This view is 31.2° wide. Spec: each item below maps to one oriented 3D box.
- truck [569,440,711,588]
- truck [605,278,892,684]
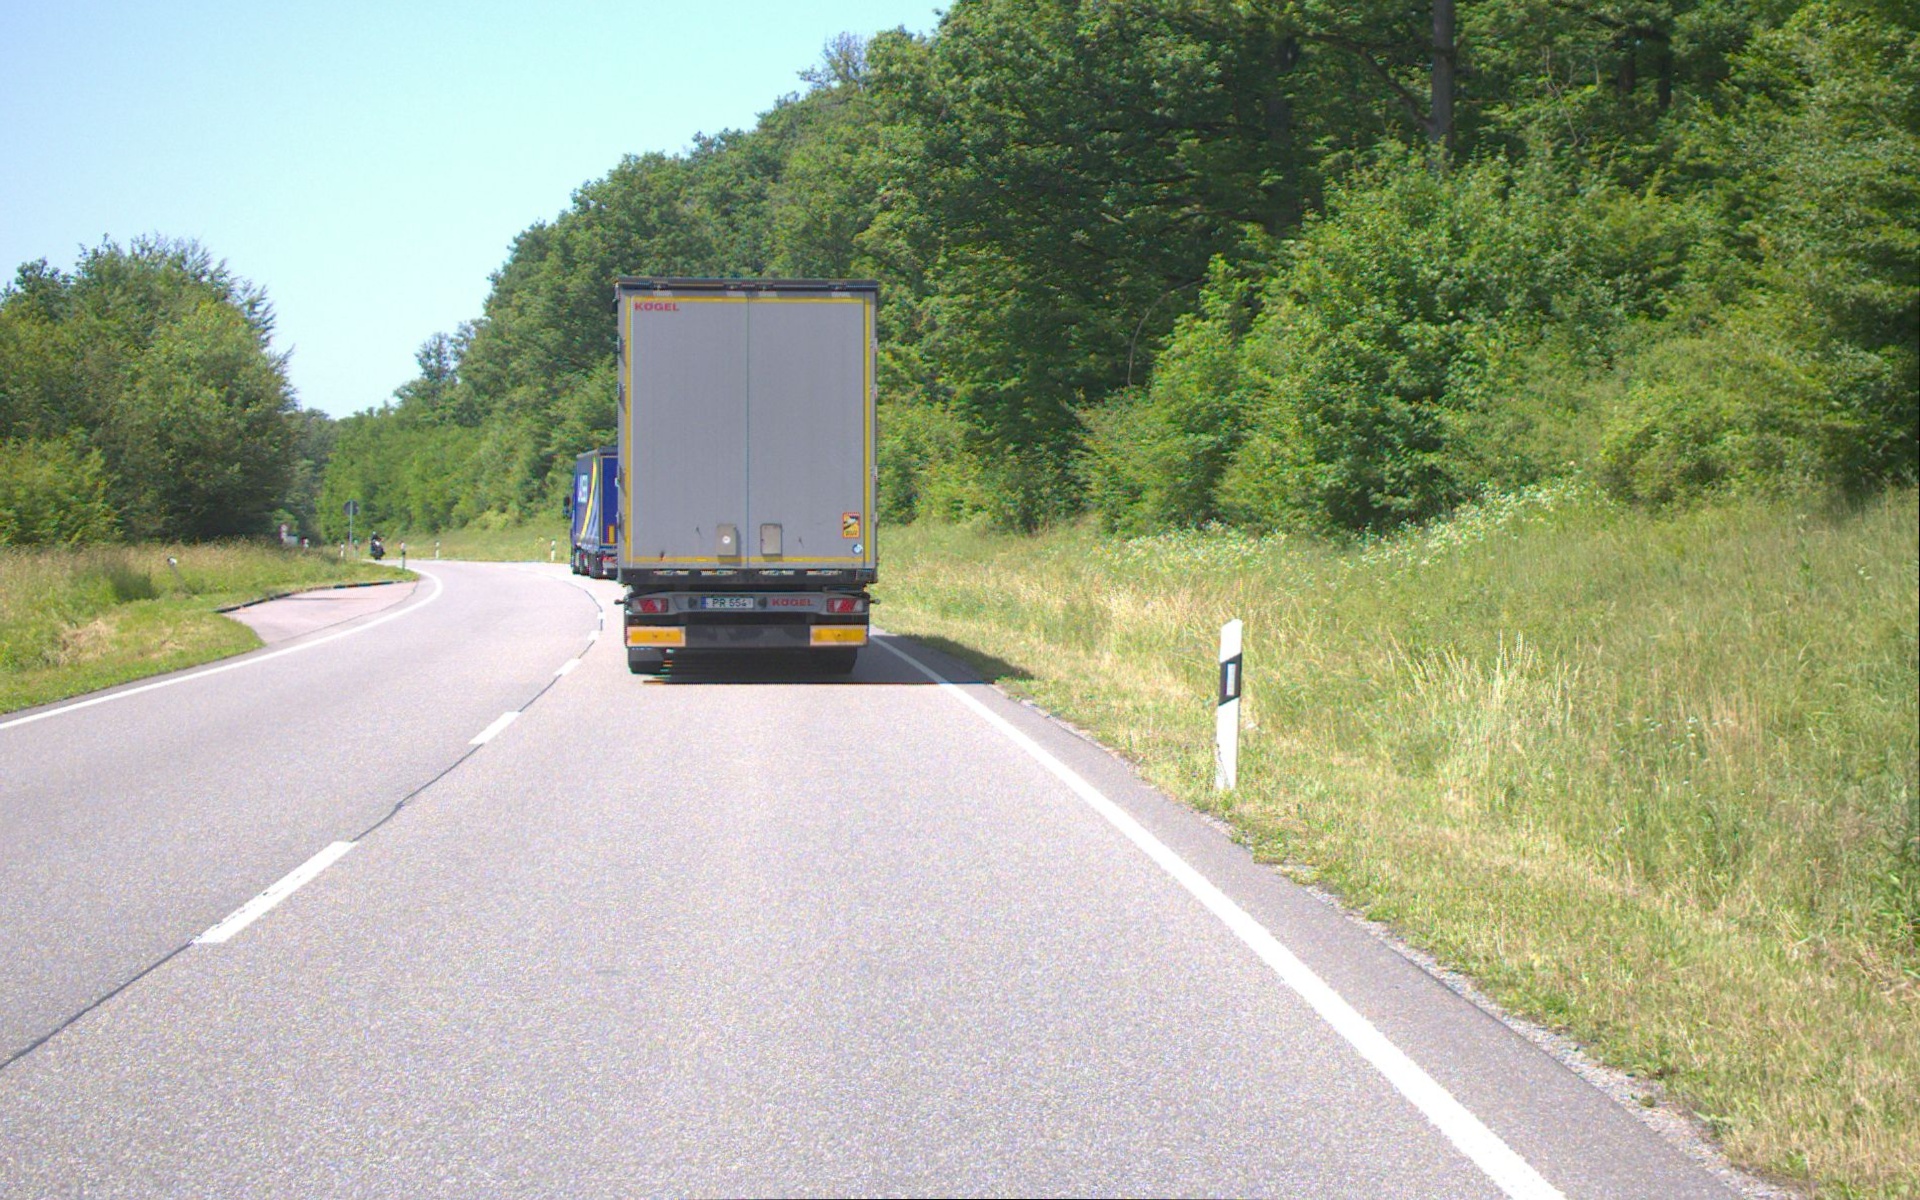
[{"bbox_3d":[-10.457,-2.729,110.753,3.792,4.358,14.924,1,1,-8],"label":"truck"},{"bbox_3d":[-2.404,-1.270,39.618,2.761,3.933,12.199,0,1,-3],"label":"truck"}]
